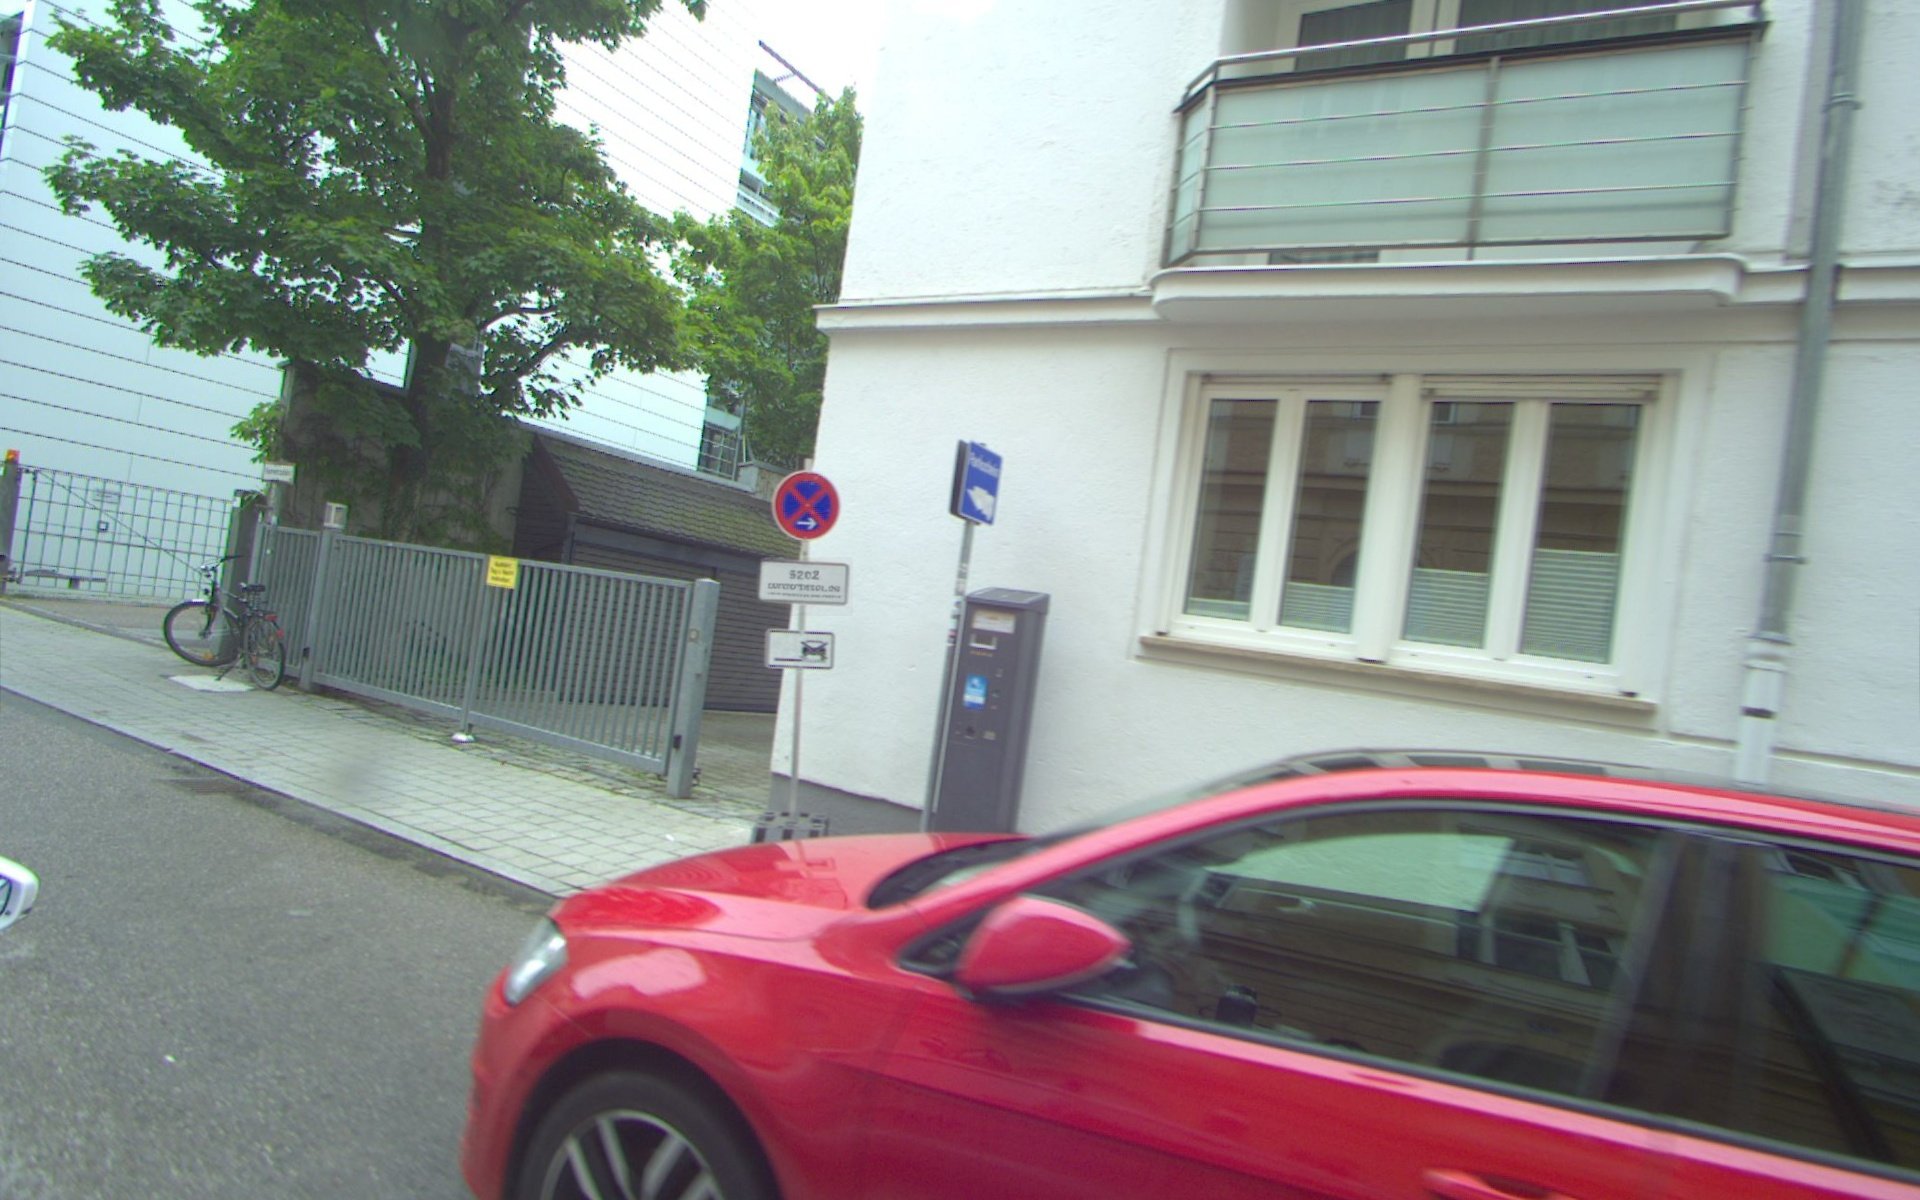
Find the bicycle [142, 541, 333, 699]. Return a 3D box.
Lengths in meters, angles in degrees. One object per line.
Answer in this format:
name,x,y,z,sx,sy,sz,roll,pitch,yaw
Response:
bicycle,-7.121,0.186,9.898,1.802,1.212,0.709,10,0,30

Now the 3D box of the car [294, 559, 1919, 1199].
car,0.942,0.990,2.122,4.220,1.462,1.769,7,-3,23
